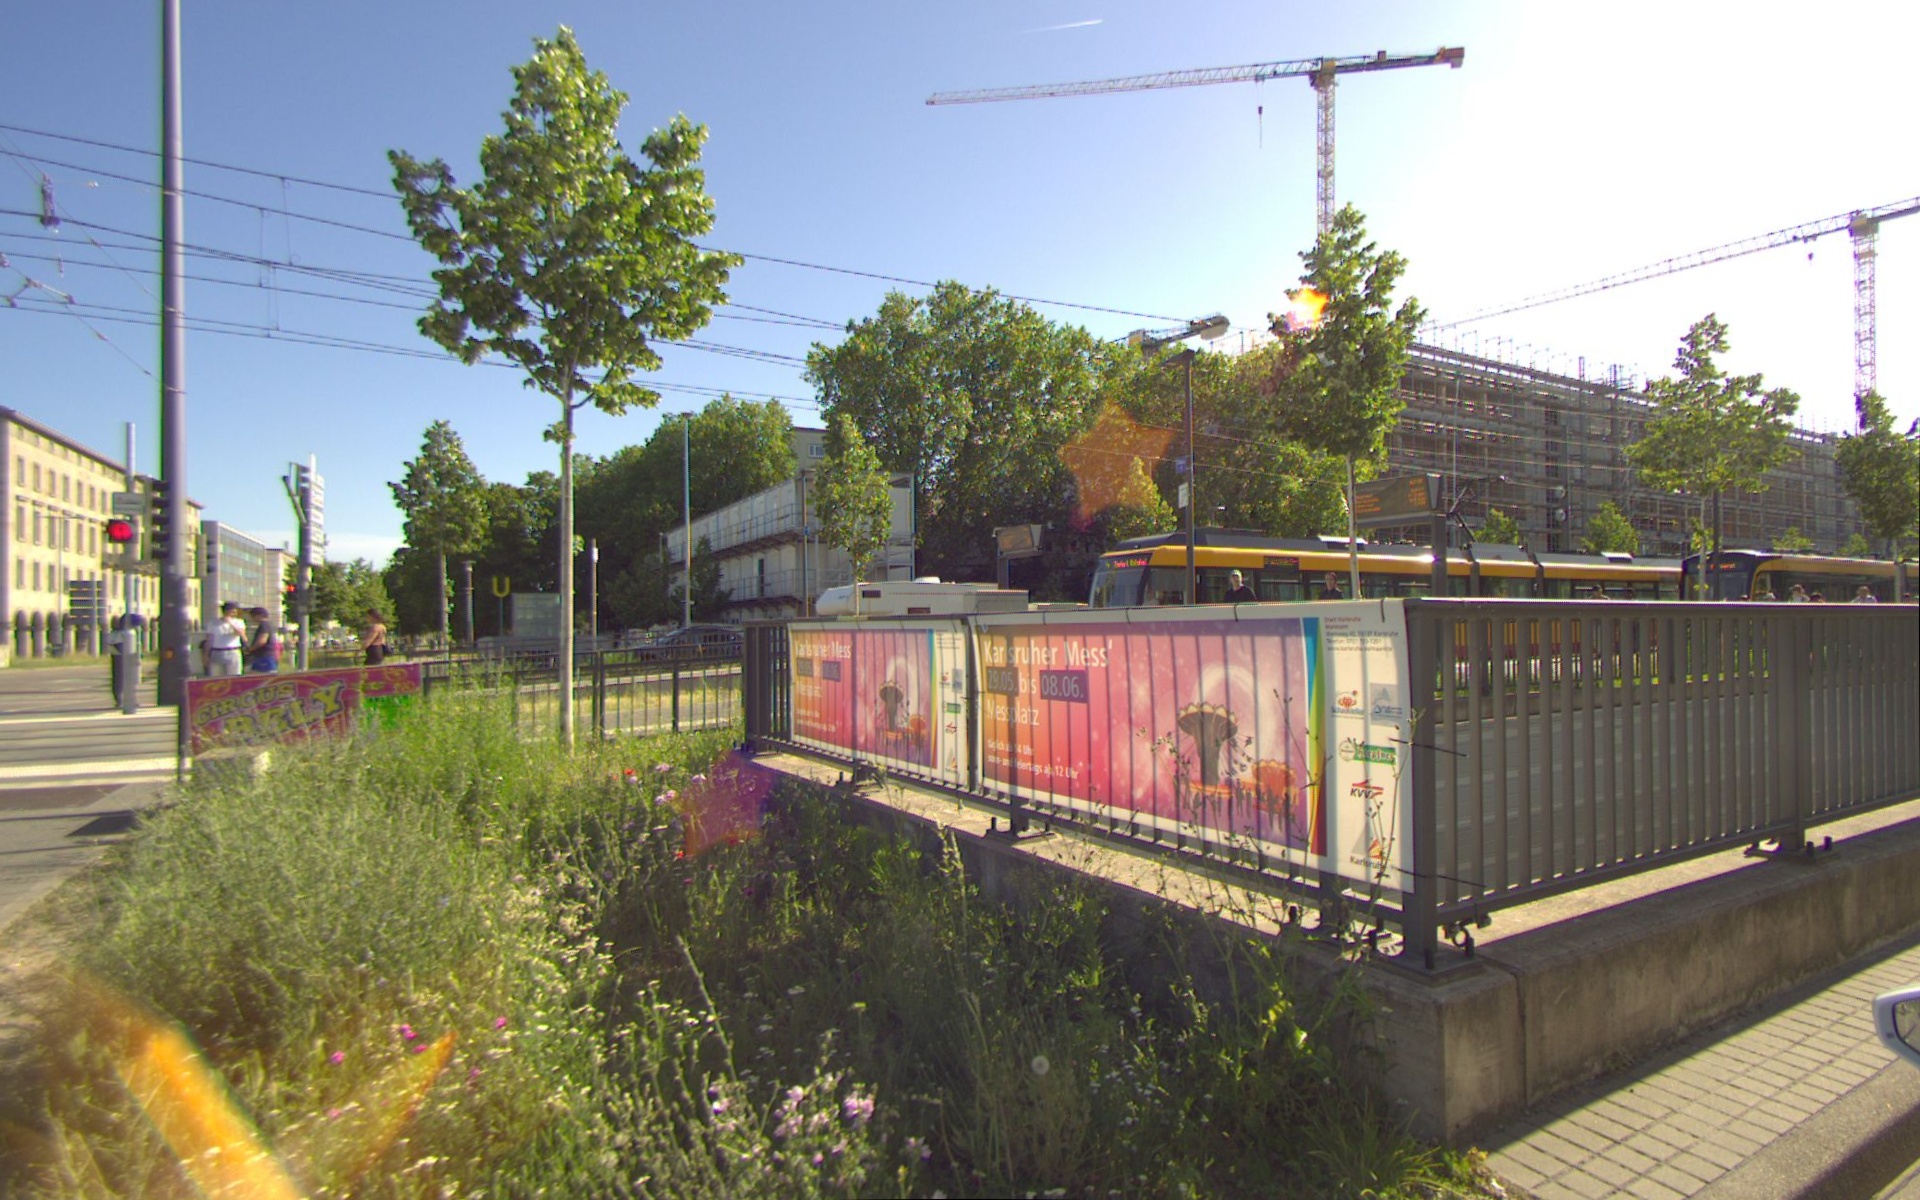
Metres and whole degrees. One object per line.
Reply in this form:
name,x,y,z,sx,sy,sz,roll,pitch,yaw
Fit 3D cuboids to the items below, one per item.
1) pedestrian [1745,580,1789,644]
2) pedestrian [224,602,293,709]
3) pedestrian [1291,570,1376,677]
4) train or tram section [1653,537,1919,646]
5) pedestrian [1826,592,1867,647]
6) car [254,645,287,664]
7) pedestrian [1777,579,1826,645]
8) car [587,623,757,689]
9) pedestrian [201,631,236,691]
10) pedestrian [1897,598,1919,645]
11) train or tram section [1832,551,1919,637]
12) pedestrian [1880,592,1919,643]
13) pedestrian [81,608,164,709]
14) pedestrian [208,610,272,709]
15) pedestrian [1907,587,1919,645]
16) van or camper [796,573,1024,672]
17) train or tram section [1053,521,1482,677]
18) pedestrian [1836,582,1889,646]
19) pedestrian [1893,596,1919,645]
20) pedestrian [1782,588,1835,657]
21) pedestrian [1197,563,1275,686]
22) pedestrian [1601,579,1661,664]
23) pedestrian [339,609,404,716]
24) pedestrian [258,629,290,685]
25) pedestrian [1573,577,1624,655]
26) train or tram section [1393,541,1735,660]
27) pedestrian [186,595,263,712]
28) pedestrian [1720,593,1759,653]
pedestrian,23.501,0.361,29.258,1.063,1.834,0.668,0,-1,-32
pedestrian,-12.538,0.975,17.989,0.966,1.847,0.795,0,-1,-33
pedestrian,6.495,0.384,17.463,1.176,1.799,0.869,-1,1,-34
train or tram section,30.139,-0.263,36.044,15.011,3.323,2.855,0,1,-32
pedestrian,28.116,0.618,31.851,0.851,1.717,0.738,0,-1,-30
car,-65.761,5.200,95.857,1.973,1.622,3.976,0,-1,-25
pedestrian,23.965,0.358,28.619,1.019,1.834,0.765,0,-1,-32
car,-8.208,1.540,28.744,4.319,1.730,1.935,0,-1,-33
pedestrian,-23.363,1.904,31.644,0.687,1.847,0.595,-1,-1,22
pedestrian,34.024,0.751,35.750,0.851,1.650,0.738,0,-1,-30
train or tram section,45.907,-0.224,45.767,21.890,3.323,2.855,0,1,-32
pedestrian,31.125,0.577,33.260,0.851,1.650,0.738,0,-1,-30
pedestrian,-15.698,1.085,18.844,0.864,1.847,0.802,-1,-1,2
pedestrian,-13.958,1.130,19.502,0.966,1.847,0.795,0,-1,-33
pedestrian,28.010,0.457,29.007,0.851,1.650,0.738,0,-1,-30
van or camper,-1.572,0.711,33.354,7.261,2.976,2.591,0,-1,-33
train or tram section,8.465,-0.020,26.180,12.923,3.354,2.855,0,1,-32
pedestrian,26.697,0.419,29.712,0.996,1.875,0.882,0,-1,-31
pedestrian,32.645,0.698,34.418,0.851,1.650,0.738,0,-1,-30
pedestrian,20.907,0.547,24.756,0.851,1.650,0.738,0,-1,-30
pedestrian,4.204,0.354,15.311,0.949,1.799,0.698,-1,1,-34
pedestrian,14.678,0.447,21.974,0.968,1.799,0.786,-1,1,-34
pedestrian,-10.581,1.101,18.048,0.966,1.847,0.795,0,-1,-33
pedestrian,-23.001,1.892,33.676,0.687,1.847,0.595,-1,-1,22
pedestrian,15.071,0.364,23.708,0.818,1.799,0.757,-1,1,-33
train or tram section,20.730,0.012,33.684,15.783,3.366,2.833,0,1,-32
pedestrian,-12.111,0.861,16.579,0.966,1.847,0.795,0,-1,-33
pedestrian,20.173,0.590,25.994,0.582,1.533,0.643,-1,1,-34
